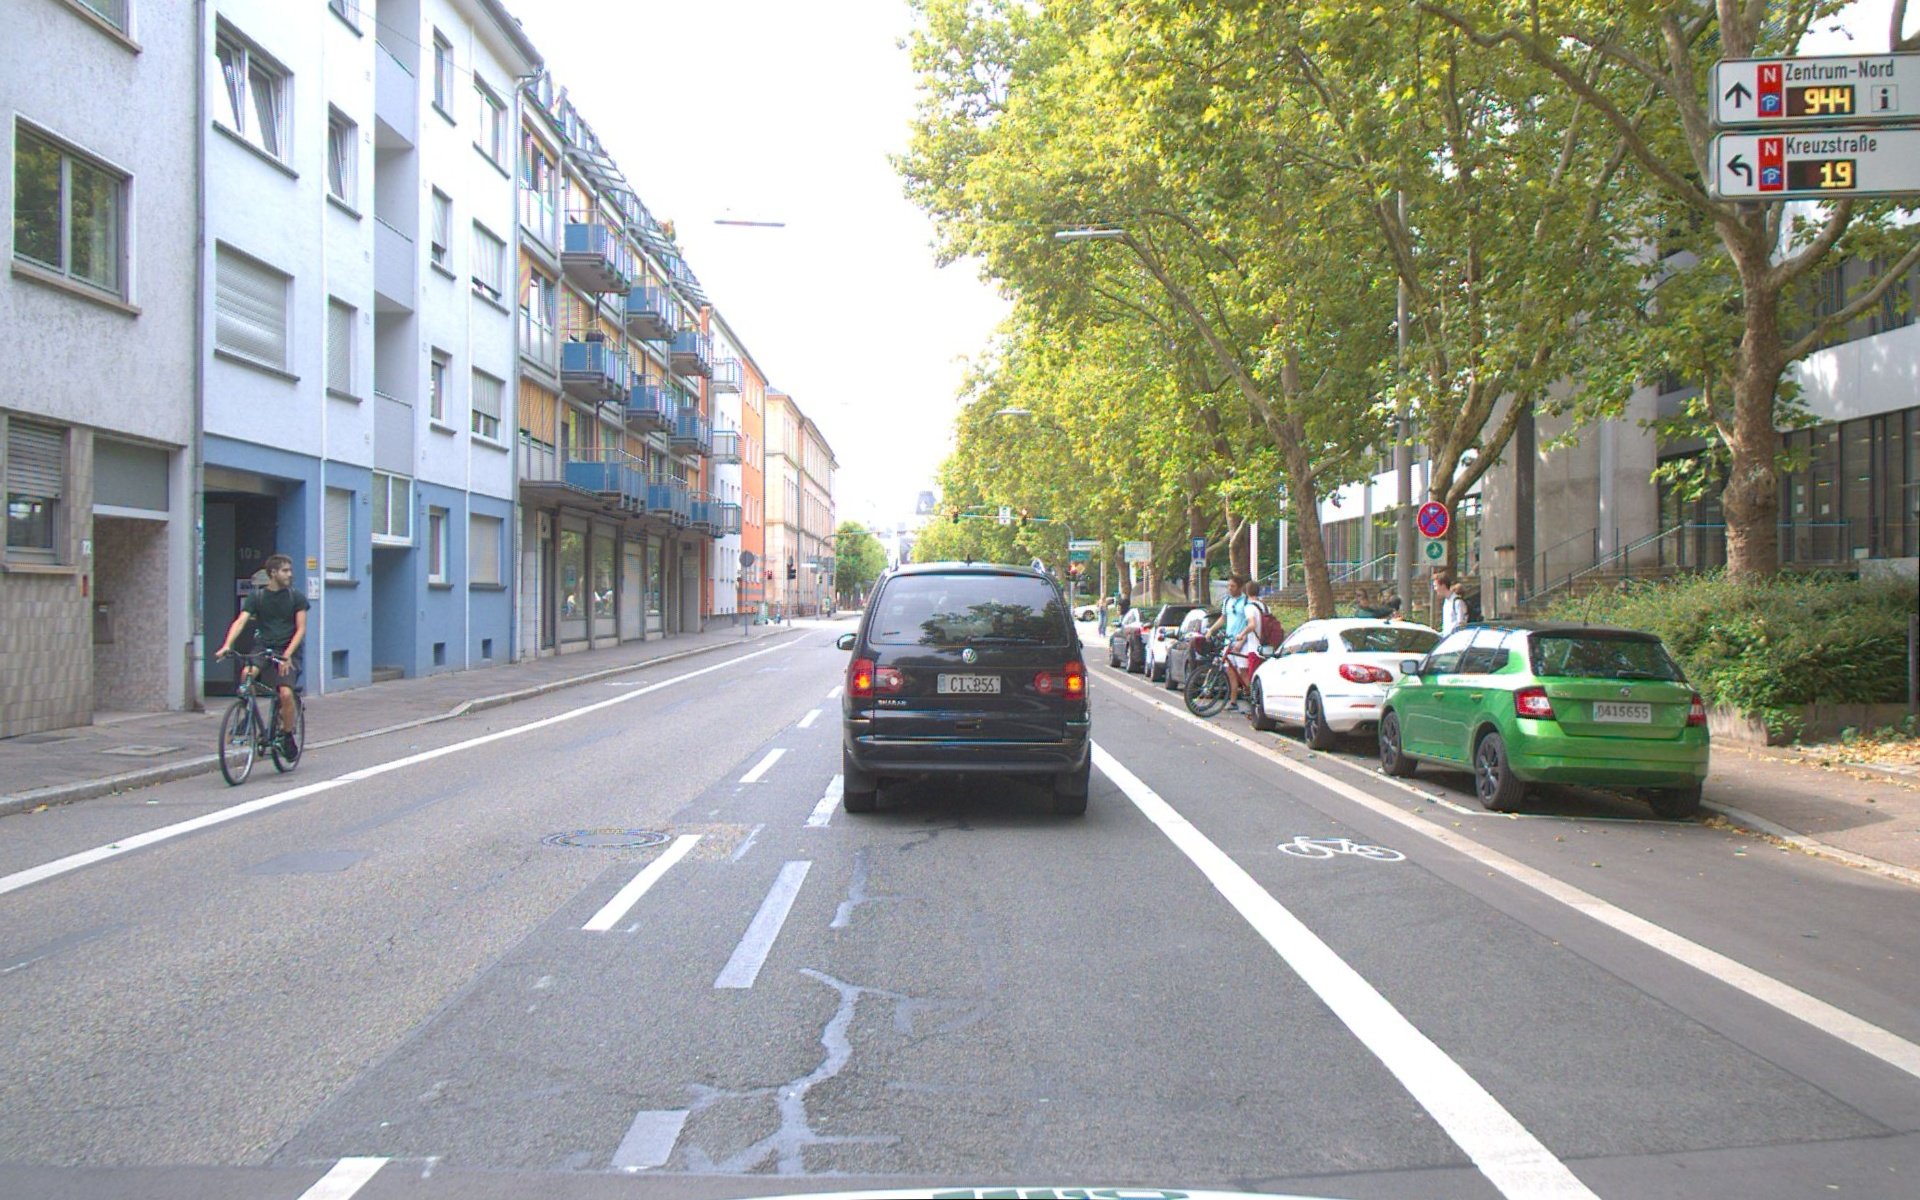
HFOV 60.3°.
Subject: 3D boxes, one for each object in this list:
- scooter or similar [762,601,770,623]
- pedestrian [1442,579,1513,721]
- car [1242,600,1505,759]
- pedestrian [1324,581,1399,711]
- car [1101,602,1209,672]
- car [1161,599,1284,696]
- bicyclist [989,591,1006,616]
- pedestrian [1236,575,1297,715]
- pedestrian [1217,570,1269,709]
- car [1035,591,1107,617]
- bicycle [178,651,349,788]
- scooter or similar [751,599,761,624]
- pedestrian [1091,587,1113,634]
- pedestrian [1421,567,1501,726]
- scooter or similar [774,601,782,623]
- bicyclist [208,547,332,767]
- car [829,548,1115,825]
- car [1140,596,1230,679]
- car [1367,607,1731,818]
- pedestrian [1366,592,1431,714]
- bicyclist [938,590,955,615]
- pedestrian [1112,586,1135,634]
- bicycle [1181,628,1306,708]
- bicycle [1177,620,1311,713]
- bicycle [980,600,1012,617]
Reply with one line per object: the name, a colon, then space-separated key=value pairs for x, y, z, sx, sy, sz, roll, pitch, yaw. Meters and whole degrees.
scooter or similar: x=-10.207 y=0.632 z=86.879 sx=0.370 sy=1.167 sz=1.141 roll=0 pitch=-2 yaw=-4
pedestrian: x=7.011 y=0.671 z=22.440 sx=0.706 sy=1.887 sz=0.703 roll=1 pitch=0 yaw=-1
car: x=4.617 y=0.814 z=19.169 sx=1.647 sy=1.542 sz=4.541 roll=3 pitch=0 yaw=-3
pedestrian: x=5.845 y=0.661 z=24.124 sx=0.853 sy=1.848 sz=0.780 roll=1 pitch=0 yaw=-1
car: x=4.385 y=0.794 z=37.771 sx=1.664 sy=1.450 sz=4.419 roll=2 pitch=0 yaw=-3
car: x=4.500 y=0.775 z=28.792 sx=1.497 sy=1.528 sz=3.659 roll=2 pitch=0 yaw=-1
bicyclist: x=2.290 y=0.212 z=101.984 sx=0.899 sy=1.492 sz=0.568 roll=1 pitch=0 yaw=-14
pedestrian: x=4.189 y=0.607 z=22.639 sx=0.511 sy=1.877 sz=0.741 roll=1 pitch=0 yaw=-16
pedestrian: x=4.080 y=0.566 z=23.910 sx=0.466 sy=1.968 sz=0.742 roll=1 pitch=0 yaw=-12
car: x=6.678 y=0.256 z=99.636 sx=4.016 sy=1.452 sz=1.757 roll=-1 pitch=0 yaw=-14
bicycle: x=-5.998 y=0.995 z=14.372 sx=0.633 sy=1.032 sz=2.076 roll=-1 pitch=0 yaw=-1
scooter or similar: x=-9.944 y=0.558 z=80.632 sx=0.370 sy=1.204 sz=1.389 roll=0 pitch=-2 yaw=-1
pedestrian: x=5.498 y=0.404 z=64.215 sx=0.696 sy=1.814 sz=1.033 roll=-2 pitch=-1 yaw=-2
pedestrian: x=6.570 y=0.602 z=21.726 sx=0.777 sy=2.032 sz=0.750 roll=1 pitch=0 yaw=-1
scooter or similar: x=-9.637 y=0.632 z=87.434 sx=0.370 sy=1.164 sz=1.141 roll=0 pitch=-2 yaw=-4
bicyclist: x=-6.005 y=0.481 z=14.445 sx=0.638 sy=1.842 sz=1.045 roll=-1 pitch=-1 yaw=-1
car: x=0.014 y=0.548 z=12.962 sx=1.836 sy=1.775 sz=4.572 roll=0 pitch=0 yaw=-2
car: x=4.539 y=0.740 z=33.607 sx=1.504 sy=1.570 sz=2.600 roll=2 pitch=0 yaw=2
car: x=4.848 y=0.847 z=14.190 sx=1.556 sy=1.475 sz=3.803 roll=3 pitch=0 yaw=-3
pedestrian: x=6.186 y=0.739 z=23.340 sx=0.706 sy=1.687 sz=0.655 roll=1 pitch=0 yaw=-1
bicyclist: x=-0.808 y=0.133 z=100.364 sx=0.898 sy=1.492 sz=0.568 roll=1 pitch=0 yaw=-11
pedestrian: x=6.344 y=0.406 z=64.260 sx=0.700 sy=1.831 sz=1.033 roll=-2 pitch=-1 yaw=-2
bicycle: x=4.142 y=0.992 z=24.181 sx=1.704 sy=1.125 sz=0.550 roll=1 pitch=0 yaw=-12
bicycle: x=3.934 y=0.924 z=22.871 sx=1.761 sy=1.238 sz=0.550 roll=1 pitch=0 yaw=-19
bicycle: x=2.237 y=0.519 z=101.967 sx=1.892 sy=1.046 sz=0.581 roll=1 pitch=0 yaw=-14
